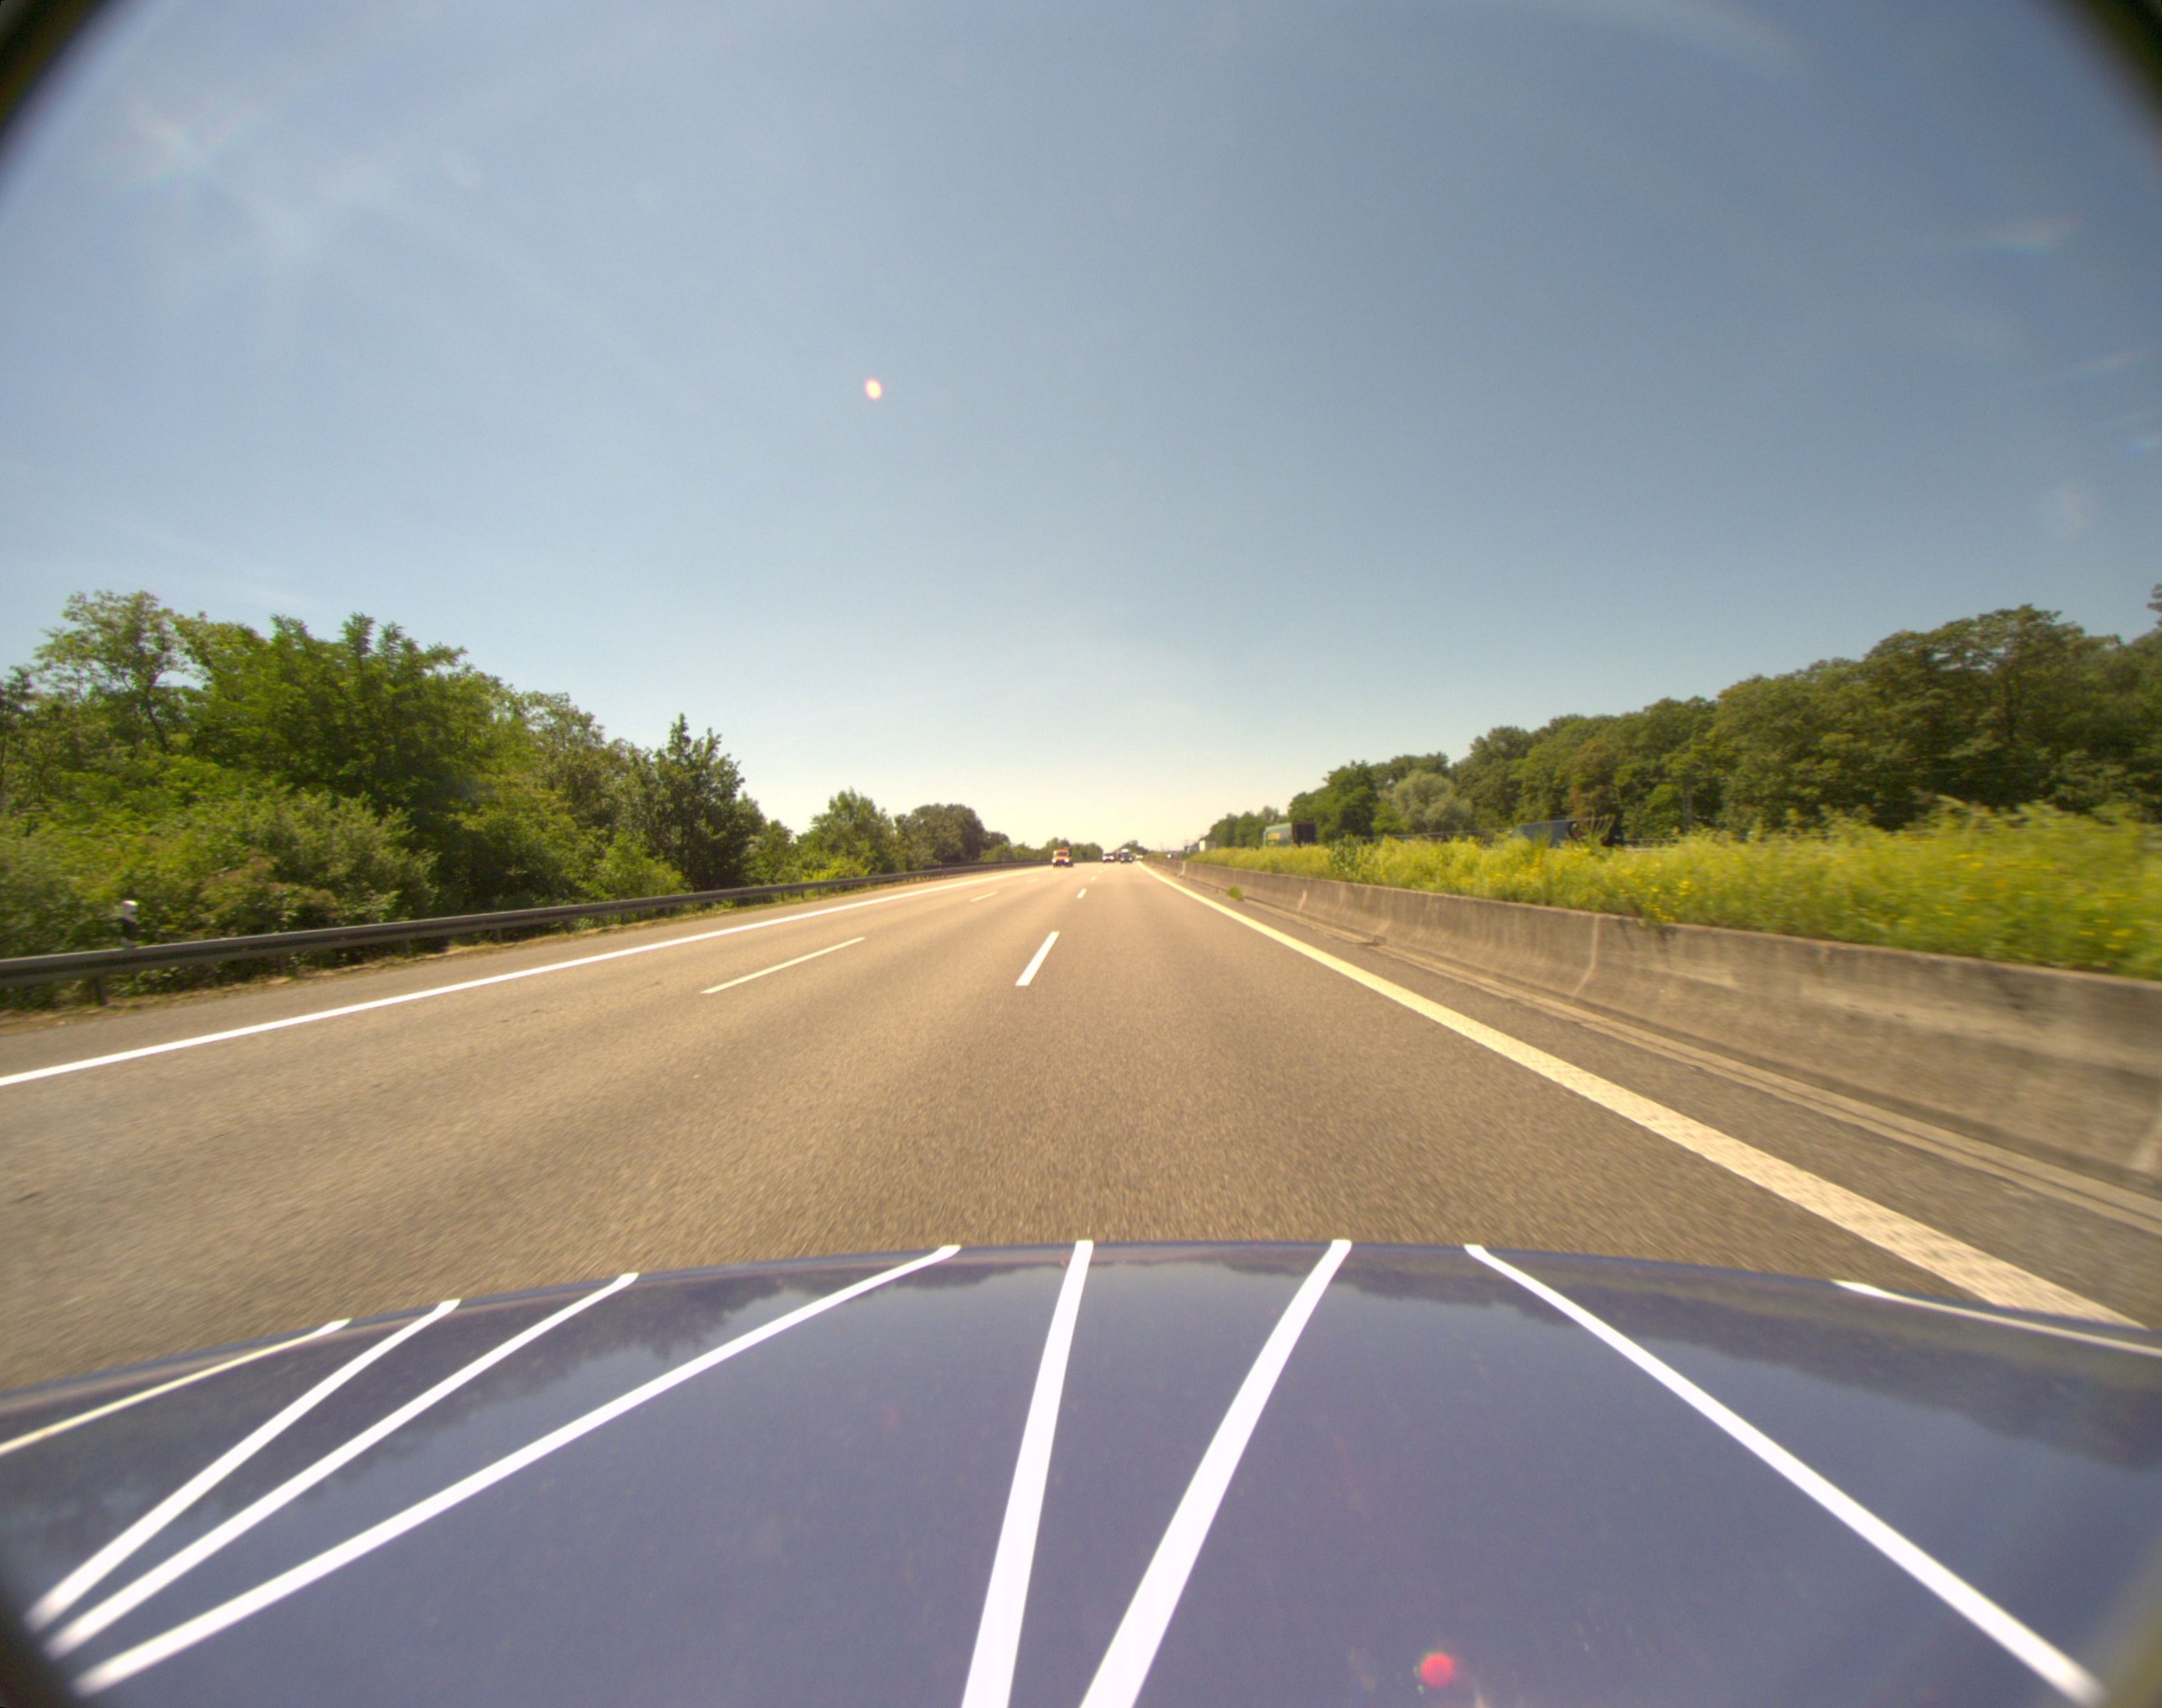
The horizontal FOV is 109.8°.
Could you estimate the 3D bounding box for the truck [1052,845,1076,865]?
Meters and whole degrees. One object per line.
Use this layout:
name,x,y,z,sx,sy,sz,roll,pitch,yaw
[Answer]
truck,-2.189,0.055,103.171,2.436,2.426,10.010,-2,1,3

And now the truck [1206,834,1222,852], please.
truck,29.200,-2.358,166.873,2.365,3.842,9.034,-2,0,3

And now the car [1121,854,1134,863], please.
car,7.378,0.735,120.792,1.800,1.390,4.835,-2,0,6

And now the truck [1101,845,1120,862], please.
truck,5.803,-0.063,149.279,2.858,3.163,10.715,-2,0,6

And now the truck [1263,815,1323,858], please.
truck,23.058,-1.782,83.666,3.185,4.206,14.498,-2,0,3

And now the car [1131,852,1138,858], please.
car,15.958,0.277,226.140,1.879,1.630,4.000,-2,1,3

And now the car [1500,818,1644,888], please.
car,15.500,-0.040,24.269,1.998,2.002,4.000,-2,0,1

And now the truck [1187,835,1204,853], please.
truck,25.298,-2.224,168.379,2.661,3.842,9.034,-2,0,3

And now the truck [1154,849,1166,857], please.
truck,12.629,-0.142,121.155,1.478,1.172,4.000,-2,0,0
